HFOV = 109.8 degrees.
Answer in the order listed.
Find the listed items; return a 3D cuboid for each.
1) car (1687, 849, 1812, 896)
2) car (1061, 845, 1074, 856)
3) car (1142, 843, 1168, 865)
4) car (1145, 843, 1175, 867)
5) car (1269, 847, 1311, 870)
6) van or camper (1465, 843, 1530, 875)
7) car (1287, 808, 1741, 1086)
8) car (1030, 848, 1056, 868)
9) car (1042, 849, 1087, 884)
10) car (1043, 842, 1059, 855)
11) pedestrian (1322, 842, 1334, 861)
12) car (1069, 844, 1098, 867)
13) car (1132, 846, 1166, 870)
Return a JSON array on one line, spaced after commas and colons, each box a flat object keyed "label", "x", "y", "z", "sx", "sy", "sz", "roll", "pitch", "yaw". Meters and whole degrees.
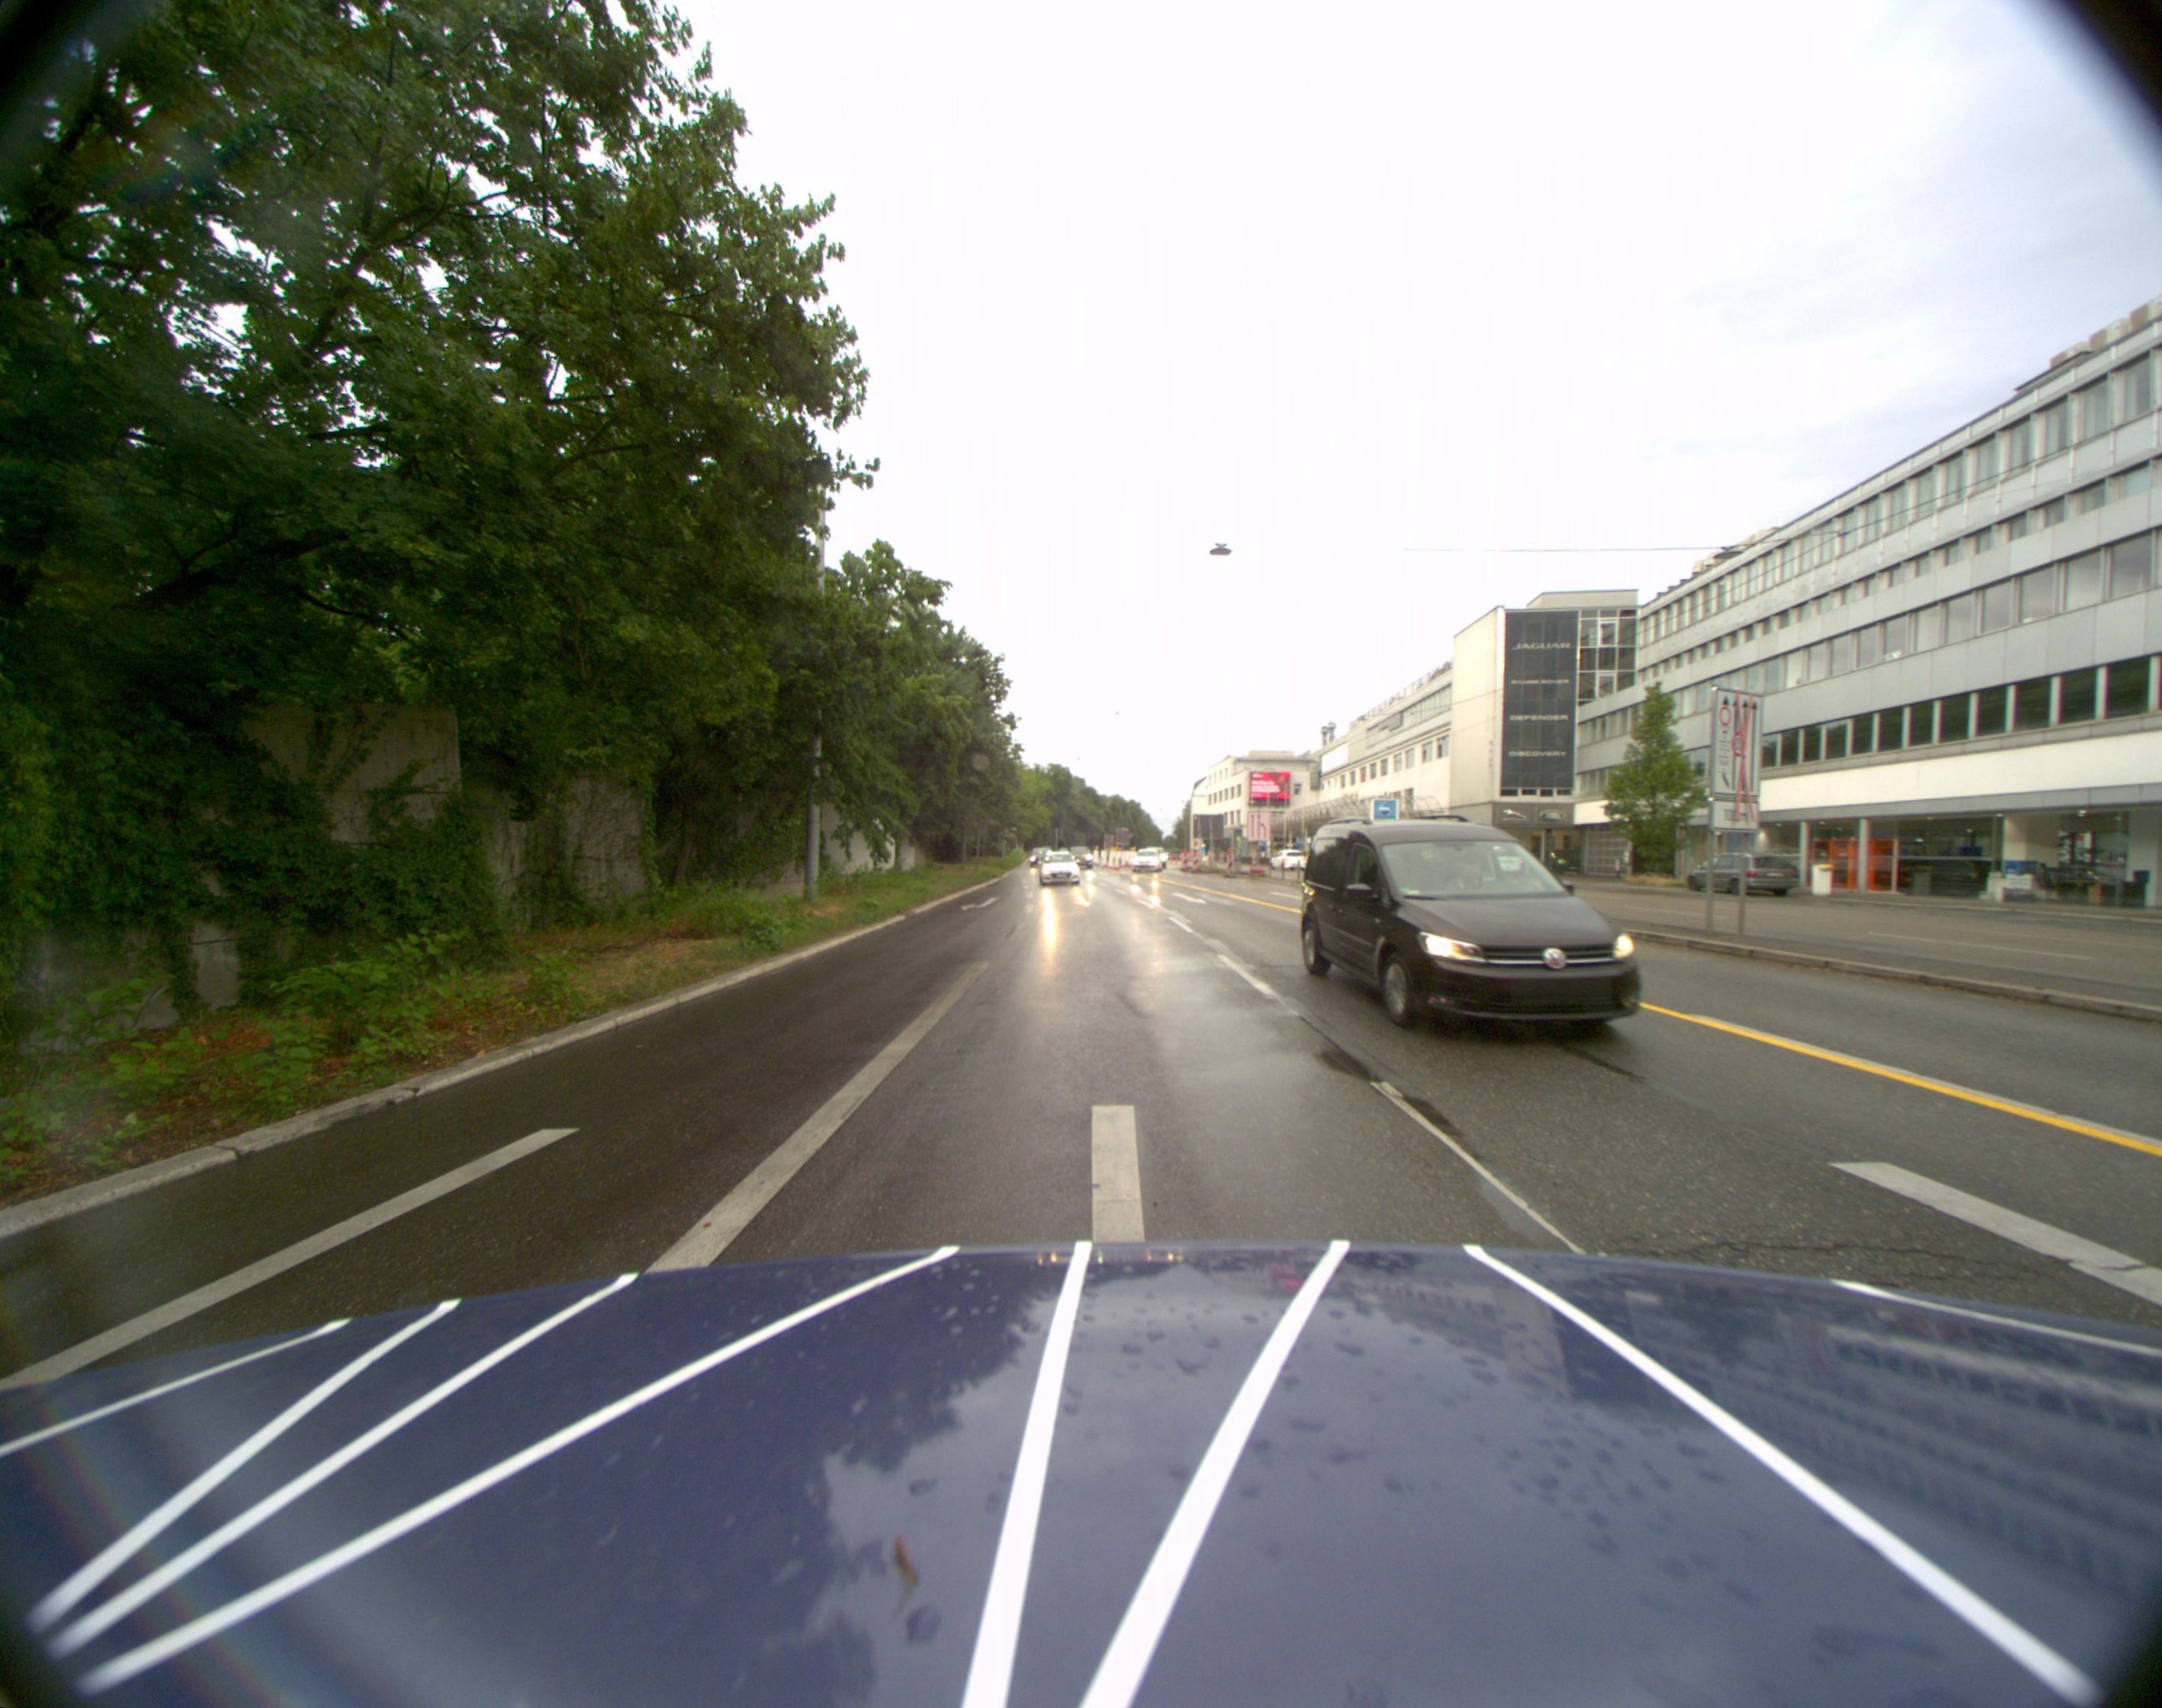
[{"label": "car", "x": 28.387, "y": 0.728, "z": 32.467, "sx": 1.922, "sy": 1.805, "sz": 4.166, "roll": -2, "pitch": 1, "yaw": 6}, {"label": "car", "x": -2.067, "y": -0.516, "z": 119.002, "sx": 1.814, "sy": 1.590, "sz": 4.333, "roll": -2, "pitch": 1, "yaw": 2}, {"label": "car", "x": 5.820, "y": -0.041, "z": 60.178, "sx": 1.771, "sy": 1.608, "sz": 3.949, "roll": -2, "pitch": 1, "yaw": 2}, {"label": "car", "x": 5.672, "y": 0.052, "z": 54.974, "sx": 1.771, "sy": 1.628, "sz": 4.333, "roll": -2, "pitch": 1, "yaw": 2}, {"label": "car", "x": 15.059, "y": 0.333, "z": 54.847, "sx": 1.806, "sy": 1.523, "sz": 3.763, "roll": 3, "pitch": 0, "yaw": -2}, {"label": "van or camper", "x": 26.006, "y": 0.277, "z": 47.586, "sx": 1.939, "sy": 1.913, "sz": 4.686, "roll": 0, "pitch": 1, "yaw": 7}, {"label": "car", "x": 3.504, "y": 0.604, "z": 7.310, "sx": 1.905, "sy": 1.804, "sz": 4.430, "roll": -2, "pitch": 1, "yaw": 2}, {"label": "car", "x": -3.163, "y": 0.292, "z": 64.613, "sx": 1.814, "sy": 1.590, "sz": 4.333, "roll": -2, "pitch": 1, "yaw": 2}, {"label": "car", "x": -0.713, "y": 0.555, "z": 35.648, "sx": 1.814, "sy": 1.444, "sz": 4.333, "roll": -2, "pitch": 1, "yaw": 2}, {"label": "car", "x": -3.882, "y": -0.778, "z": 99.625, "sx": 1.814, "sy": 1.590, "sz": 4.333, "roll": -2, "pitch": 1, "yaw": 2}, {"label": "pedestrian", "x": 23.948, "y": -0.224, "z": 73.630, "sx": 0.895, "sy": 1.804, "sz": 0.941, "roll": -2, "pitch": 1, "yaw": 5}, {"label": "car", "x": 0.149, "y": 0.109, "z": 57.473, "sx": 1.815, "sy": 1.590, "sz": 4.331, "roll": -2, "pitch": 1, "yaw": -4}, {"label": "car", "x": 4.481, "y": 0.254, "z": 49.777, "sx": 1.770, "sy": 1.407, "sz": 4.336, "roll": -2, "pitch": 1, "yaw": 10}]
